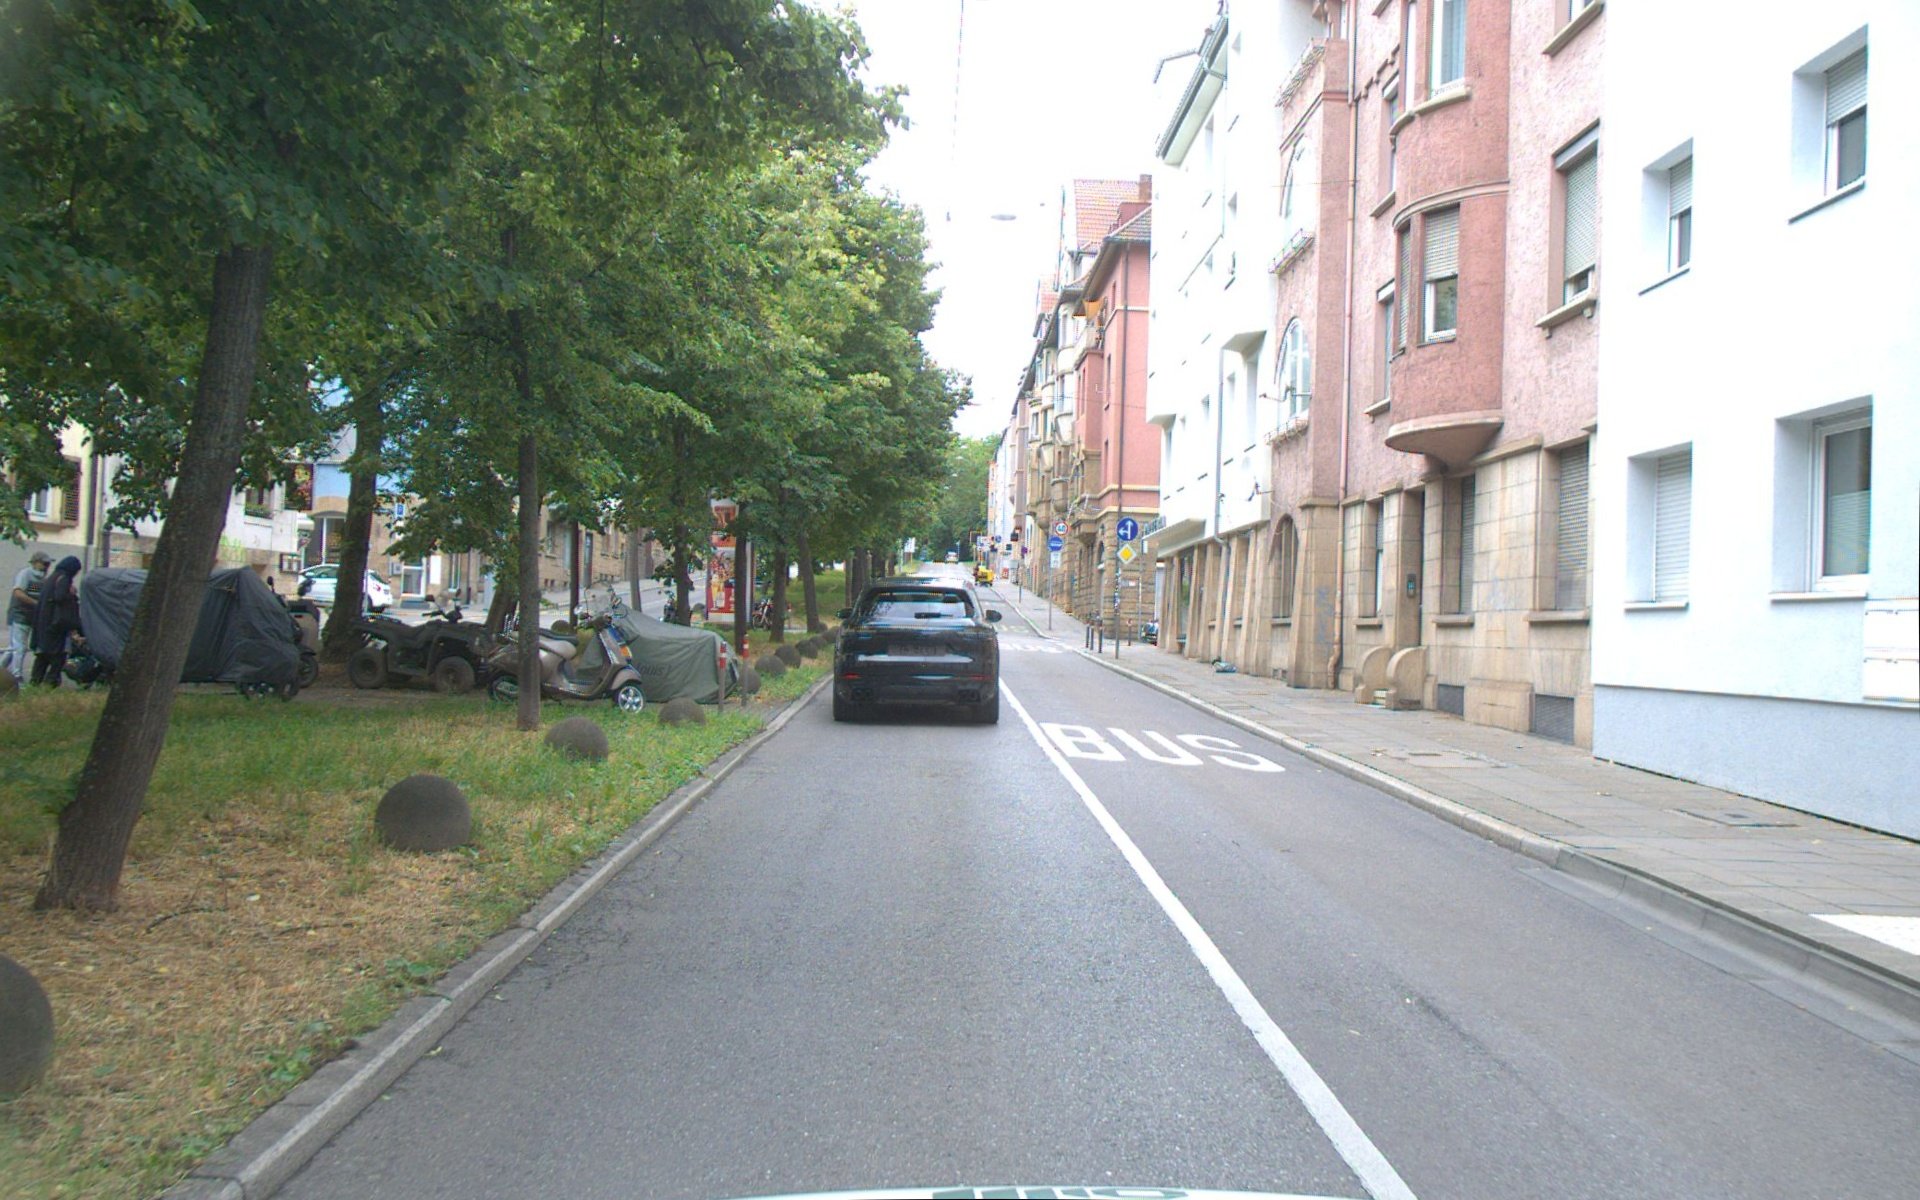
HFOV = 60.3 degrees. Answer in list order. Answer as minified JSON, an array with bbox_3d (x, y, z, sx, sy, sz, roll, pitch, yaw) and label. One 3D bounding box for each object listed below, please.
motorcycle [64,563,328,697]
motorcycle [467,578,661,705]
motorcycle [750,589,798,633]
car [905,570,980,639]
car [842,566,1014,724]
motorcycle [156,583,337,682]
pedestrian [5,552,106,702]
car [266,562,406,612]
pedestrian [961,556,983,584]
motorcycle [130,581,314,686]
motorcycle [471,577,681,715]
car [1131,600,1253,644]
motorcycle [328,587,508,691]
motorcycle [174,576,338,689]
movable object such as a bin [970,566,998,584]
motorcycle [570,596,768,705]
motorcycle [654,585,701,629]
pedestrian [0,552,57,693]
[{"bbox_3d":[-8.250,0.309,17.959,2.334,1.340,1.045,2,0,-2],"label":"motorcycle"},{"bbox_3d":[-4.298,0.453,18.090,1.886,1.319,0.893,1,-2,-3],"label":"motorcycle"},{"bbox_3d":[-5.078,0.285,45.301,1.041,1.168,2.448,1,0,0],"label":"motorcycle"},{"bbox_3d":[-0.484,0.102,46.291,1.953,1.784,4.000,2,0,-1],"label":"car"},{"bbox_3d":[-0.440,0.487,20.496,1.865,1.695,4.134,2,0,-2],"label":"car"},{"bbox_3d":[-9.372,0.427,21.769,2.087,1.257,0.622,1,-1,-1],"label":"motorcycle"},{"bbox_3d":[-10.241,0.292,18.742,0.621,1.641,0.765,3,1,5],"label":"pedestrian"},{"bbox_3d":[-20.964,-0.449,55.653,3.906,1.523,2.000,2,1,-1],"label":"car"},{"bbox_3d":[0.896,-2.292,124.728,1.290,2.049,1.007,2,0,-35],"label":"pedestrian"},{"bbox_3d":[-9.399,0.422,21.110,2.067,1.257,0.516,2,0,-3],"label":"motorcycle"},{"bbox_3d":[-4.382,0.508,18.990,2.149,1.463,0.874,2,0,1],"label":"motorcycle"},{"bbox_3d":[7.851,0.725,55.852,3.964,1.400,1.970,1,1,-41],"label":"car"},{"bbox_3d":[-6.965,0.489,21.316,1.986,1.257,0.897,2,0,4],"label":"motorcycle"},{"bbox_3d":[-8.718,0.401,20.524,1.727,1.362,0.624,1,0,-3],"label":"motorcycle"},{"bbox_3d":[1.806,-1.880,123.843,1.230,1.296,1.819,2,0,-41],"label":"movable object such as a bin"},{"bbox_3d":[-3.650,0.624,20.919,2.308,1.257,1.033,2,1,-3],"label":"motorcycle"},{"bbox_3d":[-7.692,0.207,45.126,0.882,1.126,2.251,1,-1,0],"label":"motorcycle"},{"bbox_3d":[-11.296,0.253,19.757,0.649,1.644,0.579,2,0,1],"label":"pedestrian"}]
